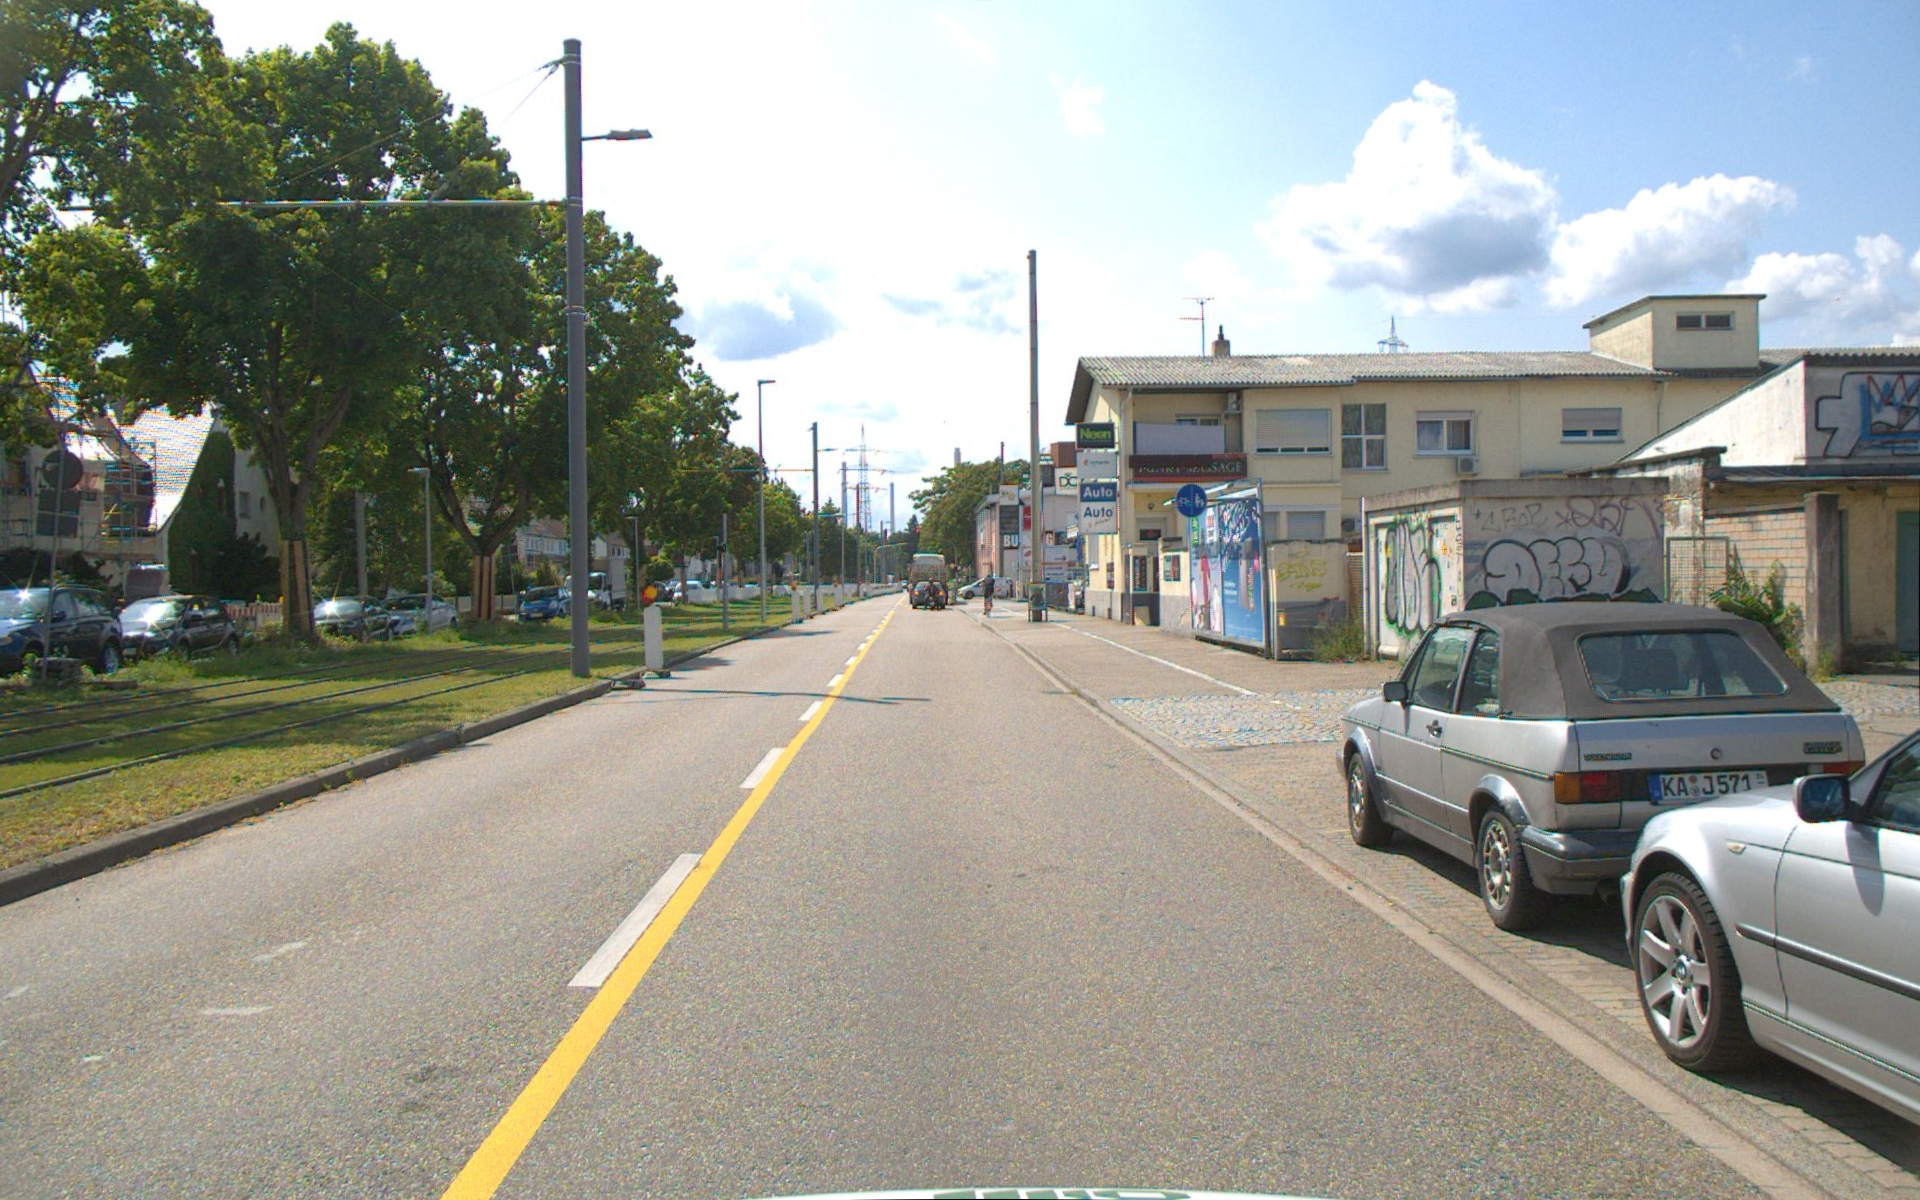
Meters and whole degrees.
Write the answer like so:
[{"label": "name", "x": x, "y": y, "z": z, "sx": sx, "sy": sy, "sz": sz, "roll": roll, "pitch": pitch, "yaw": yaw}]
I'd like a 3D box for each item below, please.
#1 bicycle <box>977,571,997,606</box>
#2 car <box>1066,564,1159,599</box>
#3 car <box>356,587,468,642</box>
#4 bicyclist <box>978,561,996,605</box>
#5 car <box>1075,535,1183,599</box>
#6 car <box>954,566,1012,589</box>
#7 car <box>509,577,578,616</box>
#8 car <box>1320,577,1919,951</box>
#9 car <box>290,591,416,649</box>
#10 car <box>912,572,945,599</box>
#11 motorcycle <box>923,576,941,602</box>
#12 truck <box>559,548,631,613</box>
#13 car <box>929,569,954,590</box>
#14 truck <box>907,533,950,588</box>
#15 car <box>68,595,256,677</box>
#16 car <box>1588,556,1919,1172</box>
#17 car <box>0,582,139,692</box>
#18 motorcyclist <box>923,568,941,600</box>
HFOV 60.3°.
[{"label": "bicycle", "x": 1.100, "y": -0.474, "z": 67.732, "sx": 0.679, "sy": 1.385, "sz": 2.418, "roll": -2, "pitch": 1, "yaw": -2}, {"label": "car", "x": 6.952, "y": -0.859, "z": 75.373, "sx": 4.095, "sy": 1.456, "sz": 1.822, "roll": -2, "pitch": 0, "yaw": 5}, {"label": "car", "x": -16.476, "y": 0.405, "z": 49.957, "sx": 1.768, "sy": 1.508, "sz": 4.938, "roll": -2, "pitch": 0, "yaw": -1}, {"label": "bicyclist", "x": 1.111, "y": -0.716, "z": 67.809, "sx": 0.657, "sy": 1.774, "sz": 0.813, "roll": -1, "pitch": 1, "yaw": -2}, {"label": "car", "x": 7.376, "y": -1.438, "z": 72.587, "sx": 4.444, "sy": 2.618, "sz": 2.151, "roll": -2, "pitch": 0, "yaw": 0}, {"label": "car", "x": 1.764, "y": -1.734, "z": 129.085, "sx": 4.251, "sy": 1.578, "sz": 1.946, "roll": -2, "pitch": 0, "yaw": -10}, {"label": "car", "x": -16.953, "y": -0.140, "z": 67.472, "sx": 1.954, "sy": 1.478, "sz": 3.998, "roll": -2, "pitch": 0, "yaw": -3}, {"label": "car", "x": 3.205, "y": 0.651, "z": 8.785, "sx": 1.618, "sy": 1.456, "sz": 4.096, "roll": -2, "pitch": 0, "yaw": 0}, {"label": "car", "x": -16.198, "y": 0.508, "z": 44.312, "sx": 1.954, "sy": 1.340, "sz": 3.851, "roll": -4, "pitch": 0, "yaw": -2}, {"label": "car", "x": -1.756, "y": -0.823, "z": 91.528, "sx": 1.785, "sy": 1.449, "sz": 3.999, "roll": -1, "pitch": 1, "yaw": -1}, {"label": "motorcycle", "x": -1.487, "y": -0.595, "z": 87.061, "sx": 0.920, "sy": 1.343, "sz": 2.644, "roll": 1, "pitch": 1, "yaw": -1}, {"label": "truck", "x": -17.246, "y": -0.945, "z": 78.437, "sx": 1.954, "sy": 2.815, "sz": 6.275, "roll": -4, "pitch": 1, "yaw": -1}, {"label": "car", "x": -1.351, "y": -1.503, "z": 120.734, "sx": 1.784, "sy": 1.489, "sz": 4.000, "roll": -1, "pitch": 1, "yaw": -1}, {"label": "truck", "x": -2.042, "y": -2.643, "z": 107.583, "sx": 2.557, "sy": 3.312, "sz": 9.182, "roll": -2, "pitch": 2, "yaw": -1}, {"label": "car", "x": -16.342, "y": 0.685, "z": 34.112, "sx": 1.953, "sy": 1.464, "sz": 3.999, "roll": -3, "pitch": 0, "yaw": -2}, {"label": "car", "x": 3.241, "y": 0.638, "z": 3.818, "sx": 1.658, "sy": 1.542, "sz": 4.353, "roll": -2, "pitch": 0, "yaw": -4}, {"label": "car", "x": -15.923, "y": 0.605, "z": 28.133, "sx": 1.955, "sy": 1.720, "sz": 4.388, "roll": -2, "pitch": 0, "yaw": -5}, {"label": "motorcyclist", "x": -1.477, "y": -0.851, "z": 86.879, "sx": 0.920, "sy": 1.643, "sz": 1.204, "roll": 1, "pitch": 0, "yaw": -2}]
